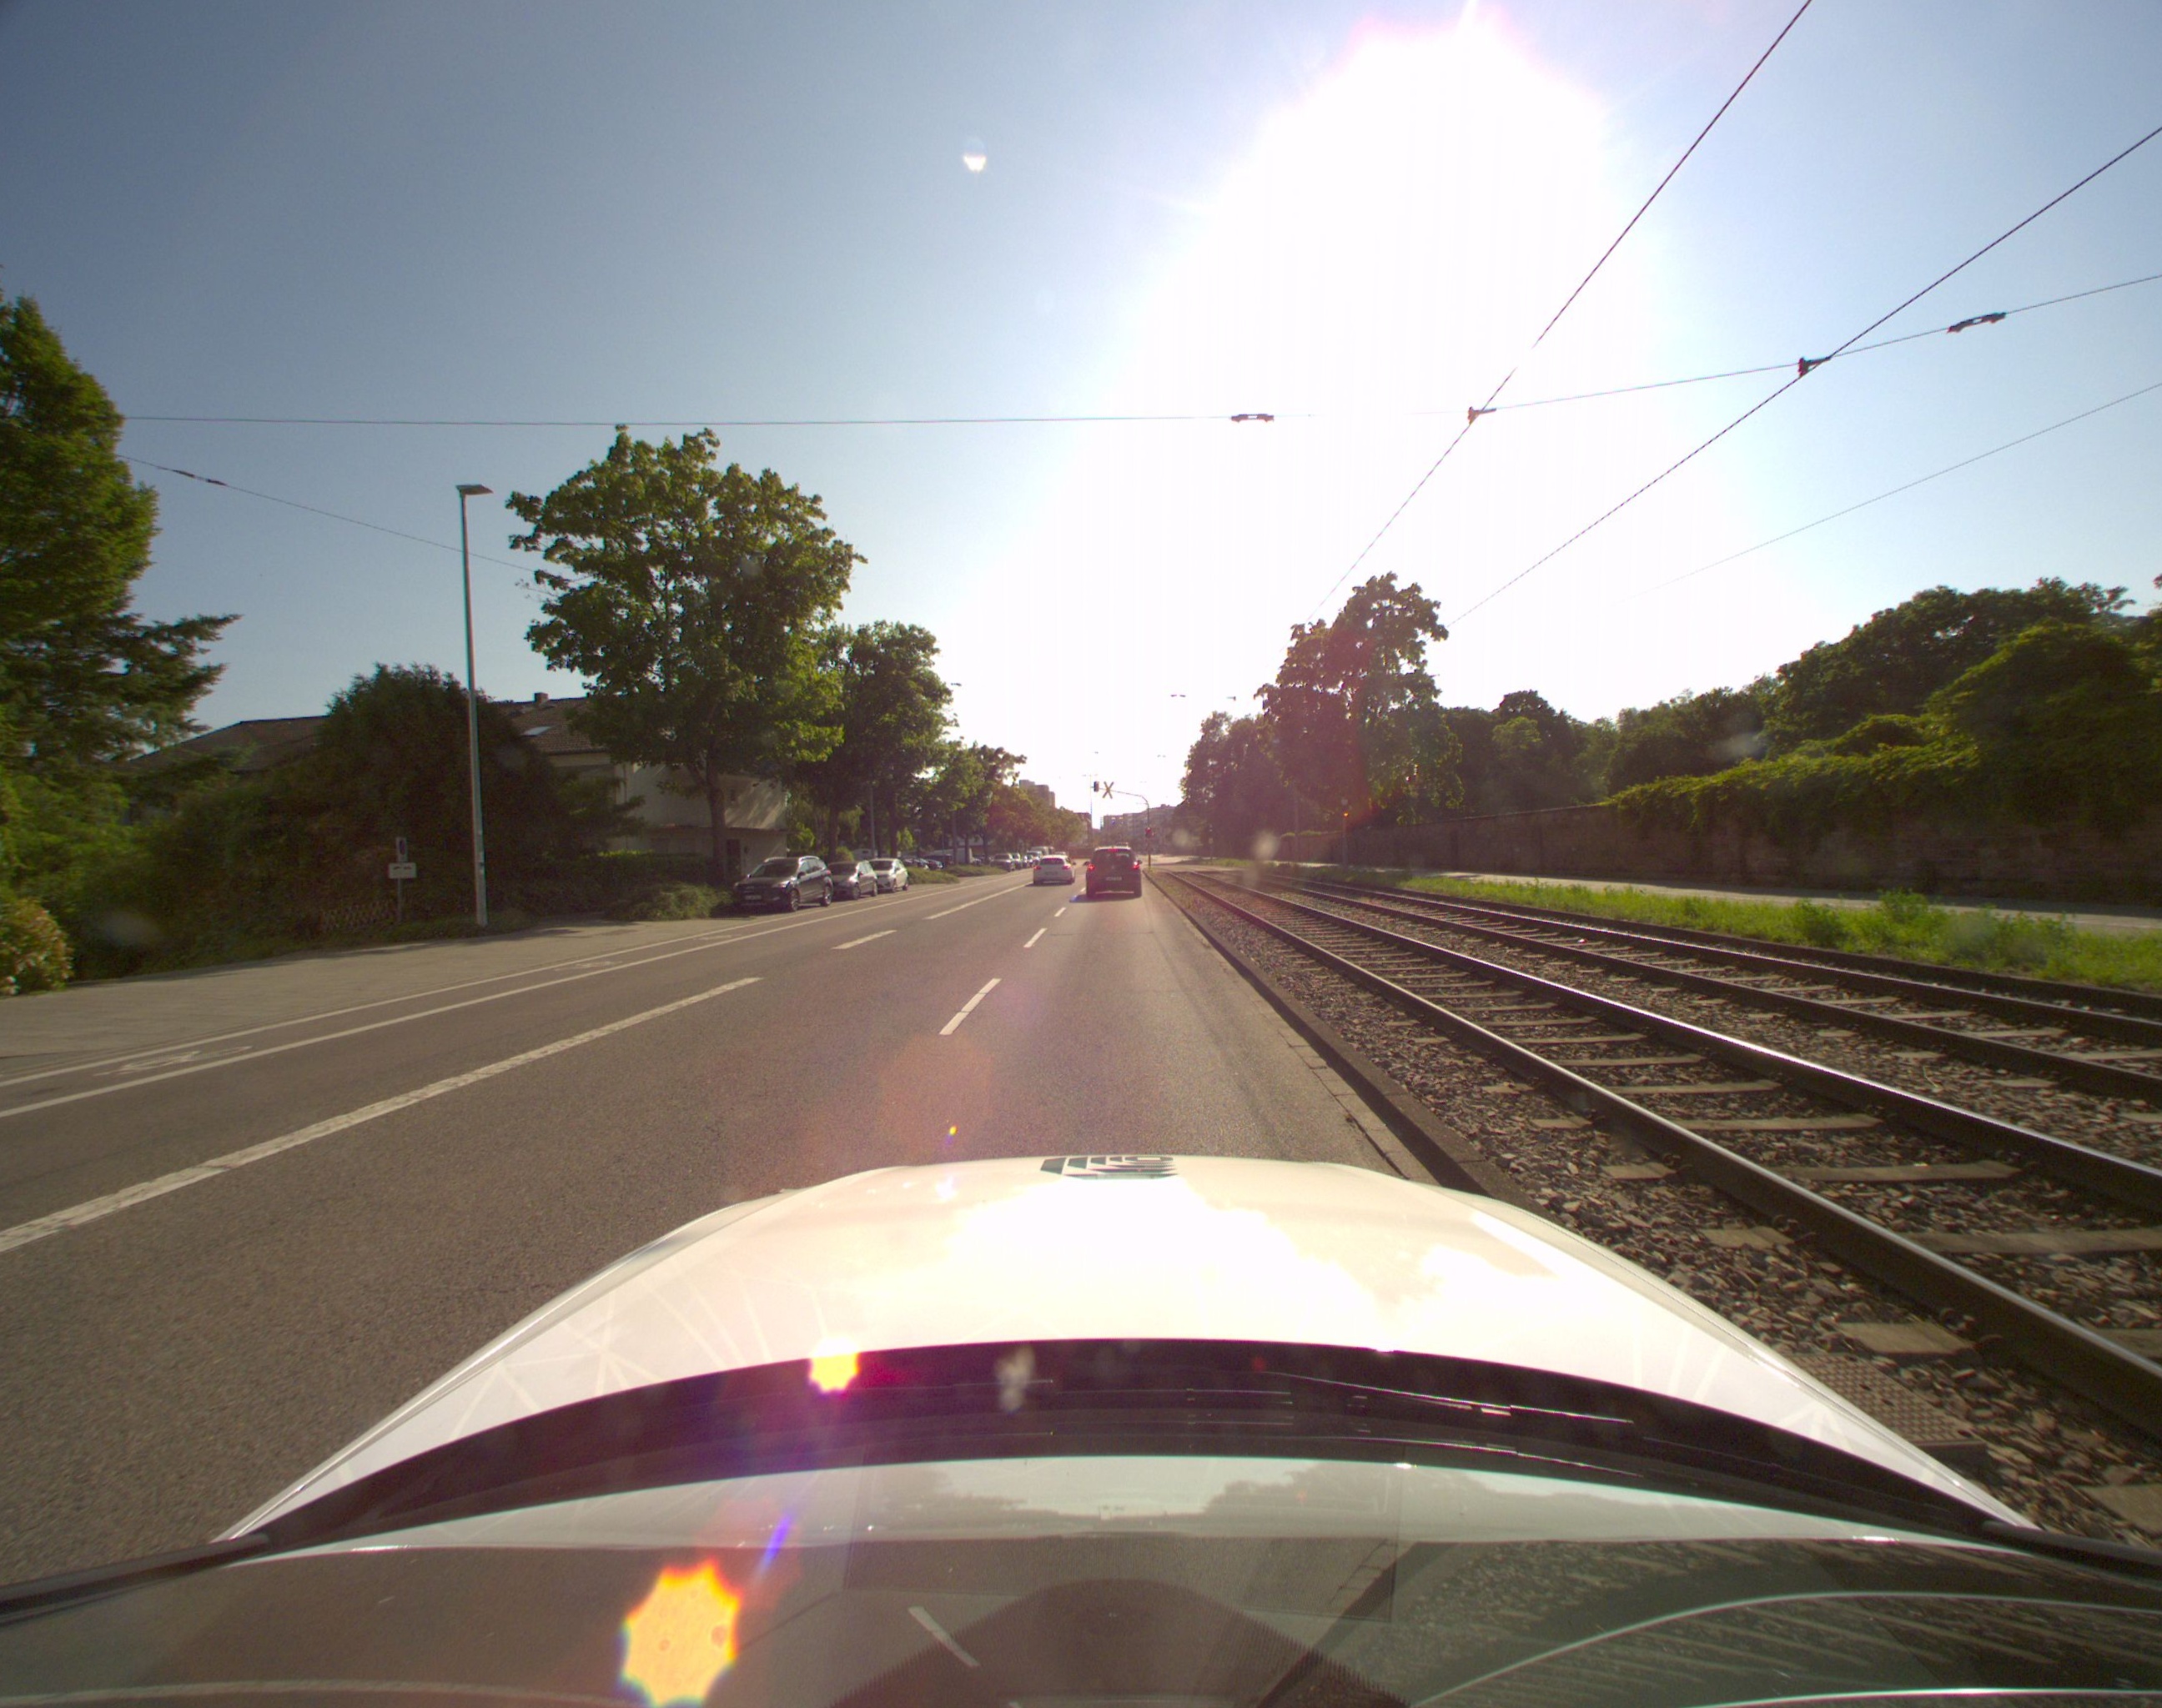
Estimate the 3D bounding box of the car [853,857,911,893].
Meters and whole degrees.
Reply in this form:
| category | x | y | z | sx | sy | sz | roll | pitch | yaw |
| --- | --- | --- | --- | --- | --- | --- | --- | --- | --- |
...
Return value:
| category | x | y | z | sx | sy | sz | roll | pitch | yaw |
| --- | --- | --- | --- | --- | --- | --- | --- | --- | --- |
| car | -9.157 | 0.915 | 37.705 | 1.594 | 1.550 | 3.896 | 0 | 0 | 2 |

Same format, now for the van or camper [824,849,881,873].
| category | x | y | z | sx | sy | sz | roll | pitch | yaw |
| --- | --- | --- | --- | --- | --- | --- | --- | --- | --- |
| van or camper | -29.119 | 0.849 | 103.830 | 6.436 | 2.868 | 2.309 | -2 | 0 | 3 |

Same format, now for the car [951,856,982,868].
| category | x | y | z | sx | sy | sz | roll | pitch | yaw |
| --- | --- | --- | --- | --- | --- | --- | --- | --- | --- |
| car | -15.366 | 1.067 | 109.443 | 3.974 | 1.397 | 1.737 | -2 | 0 | -1 |

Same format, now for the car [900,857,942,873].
| category | x | y | z | sx | sy | sz | roll | pitch | yaw |
| --- | --- | --- | --- | --- | --- | --- | --- | --- | --- |
| car | -16.689 | 1.146 | 85.190 | 3.974 | 1.397 | 1.737 | -2 | 0 | -1 |

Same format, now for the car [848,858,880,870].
| category | x | y | z | sx | sy | sz | roll | pitch | yaw |
| --- | --- | --- | --- | --- | --- | --- | --- | --- | --- |
| car | -28.541 | 1.295 | 106.978 | 3.651 | 1.397 | 1.737 | -2 | 0 | -1 |

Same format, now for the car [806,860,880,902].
| category | x | y | z | sx | sy | sz | roll | pitch | yaw |
| --- | --- | --- | --- | --- | --- | --- | --- | --- | --- |
| car | -9.316 | 1.009 | 32.184 | 1.671 | 1.468 | 3.969 | -2 | 0 | 1 |

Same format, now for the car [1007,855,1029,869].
| category | x | y | z | sx | sy | sz | roll | pitch | yaw |
| --- | --- | --- | --- | --- | --- | --- | --- | --- | --- |
| car | -6.662 | 0.861 | 87.078 | 1.724 | 1.389 | 3.740 | -2 | 1 | 4 |

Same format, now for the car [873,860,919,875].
| category | x | y | z | sx | sy | sz | roll | pitch | yaw |
| --- | --- | --- | --- | --- | --- | --- | --- | --- | --- |
| car | -17.494 | 1.274 | 77.108 | 3.974 | 1.307 | 1.737 | -2 | 0 | -1 |

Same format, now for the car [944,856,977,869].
| category | x | y | z | sx | sy | sz | roll | pitch | yaw |
| --- | --- | --- | --- | --- | --- | --- | --- | --- | --- |
| car | -15.343 | 1.076 | 103.960 | 3.974 | 1.397 | 1.737 | -2 | 0 | -1 |

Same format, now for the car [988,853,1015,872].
| category | x | y | z | sx | sy | sz | roll | pitch | yaw |
| --- | --- | --- | --- | --- | --- | --- | --- | --- | --- |
| car | -7.280 | 0.745 | 75.105 | 1.724 | 1.657 | 4.005 | -2 | 0 | 4 |

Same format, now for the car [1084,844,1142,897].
| category | x | y | z | sx | sy | sz | roll | pitch | yaw |
| --- | --- | --- | --- | --- | --- | --- | --- | --- | --- |
| car | 1.123 | 0.521 | 27.553 | 1.804 | 1.645 | 4.003 | -1 | 0 | 3 |

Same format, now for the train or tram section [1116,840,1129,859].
| category | x | y | z | sx | sy | sz | roll | pitch | yaw |
| --- | --- | --- | --- | --- | --- | --- | --- | --- | --- |
| train or tram section | 8.300 | -0.882 | 162.249 | 2.317 | 3.570 | 8.908 | -2 | 0 | 3 |

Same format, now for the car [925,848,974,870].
| category | x | y | z | sx | sy | sz | roll | pitch | yaw |
| --- | --- | --- | --- | --- | --- | --- | --- | --- | --- |
| car | -15.873 | 0.565 | 98.568 | 5.353 | 2.423 | 2.089 | -2 | 0 | 3 |

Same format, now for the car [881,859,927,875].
| category | x | y | z | sx | sy | sz | roll | pitch | yaw |
| --- | --- | --- | --- | --- | --- | --- | --- | --- | --- |
| car | -17.295 | 1.265 | 79.695 | 3.974 | 1.307 | 1.737 | -2 | 0 | -1 |

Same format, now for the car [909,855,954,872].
| category | x | y | z | sx | sy | sz | roll | pitch | yaw |
| --- | --- | --- | --- | --- | --- | --- | --- | --- | --- |
| car | -16.591 | 1.012 | 90.541 | 4.602 | 1.651 | 2.049 | -2 | 0 | 1 |

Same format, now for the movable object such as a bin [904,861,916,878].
| category | x | y | z | sx | sy | sz | roll | pitch | yaw |
| --- | --- | --- | --- | --- | --- | --- | --- | --- | --- |
| movable object such as a bin | -12.692 | 1.147 | 60.410 | 0.540 | 1.146 | 1.262 | -2 | 0 | 3 |

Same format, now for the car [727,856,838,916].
| category | x | y | z | sx | sy | sz | roll | pitch | yaw |
| --- | --- | --- | --- | --- | --- | --- | --- | --- | --- |
| car | -9.525 | 0.963 | 26.382 | 1.705 | 1.694 | 4.426 | -2 | 0 | 3 |

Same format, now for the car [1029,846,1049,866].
| category | x | y | z | sx | sy | sz | roll | pitch | yaw |
| --- | --- | --- | --- | --- | --- | --- | --- | --- | --- |
| car | -5.337 | 0.228 | 104.929 | 1.855 | 2.347 | 4.991 | -2 | 0 | 5 |

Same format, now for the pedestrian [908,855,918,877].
| category | x | y | z | sx | sy | sz | roll | pitch | yaw |
| --- | --- | --- | --- | --- | --- | --- | --- | --- | --- |
| pedestrian | -12.641 | 0.897 | 61.349 | 0.522 | 1.628 | 0.610 | -2 | 0 | 3 |

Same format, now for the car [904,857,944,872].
| category | x | y | z | sx | sy | sz | roll | pitch | yaw |
| --- | --- | --- | --- | --- | --- | --- | --- | --- | --- |
| car | -17.003 | 1.152 | 88.166 | 3.974 | 1.397 | 1.737 | -2 | 0 | -1 |

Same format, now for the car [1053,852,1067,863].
| category | x | y | z | sx | sy | sz | roll | pitch | yaw |
| --- | --- | --- | --- | --- | --- | --- | --- | --- | --- |
| car | -3.454 | 0.535 | 134.758 | 1.724 | 1.694 | 4.005 | -2 | 1 | 4 |

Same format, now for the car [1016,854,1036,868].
| category | x | y | z | sx | sy | sz | roll | pitch | yaw |
| --- | --- | --- | --- | --- | --- | --- | --- | --- | --- |
| car | -6.230 | 0.818 | 92.952 | 1.724 | 1.450 | 3.740 | -2 | 1 | 4 |

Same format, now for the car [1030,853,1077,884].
| category | x | y | z | sx | sy | sz | roll | pitch | yaw |
| --- | --- | --- | --- | --- | --- | --- | --- | --- | --- |
| car | -1.243 | 0.676 | 39.053 | 1.857 | 1.348 | 4.004 | -1 | 0 | 3 |

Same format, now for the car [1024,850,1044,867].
| category | x | y | z | sx | sy | sz | roll | pitch | yaw |
| --- | --- | --- | --- | --- | --- | --- | --- | --- | --- |
| car | -5.631 | 0.518 | 98.254 | 1.724 | 1.860 | 4.495 | -2 | 0 | 5 |
